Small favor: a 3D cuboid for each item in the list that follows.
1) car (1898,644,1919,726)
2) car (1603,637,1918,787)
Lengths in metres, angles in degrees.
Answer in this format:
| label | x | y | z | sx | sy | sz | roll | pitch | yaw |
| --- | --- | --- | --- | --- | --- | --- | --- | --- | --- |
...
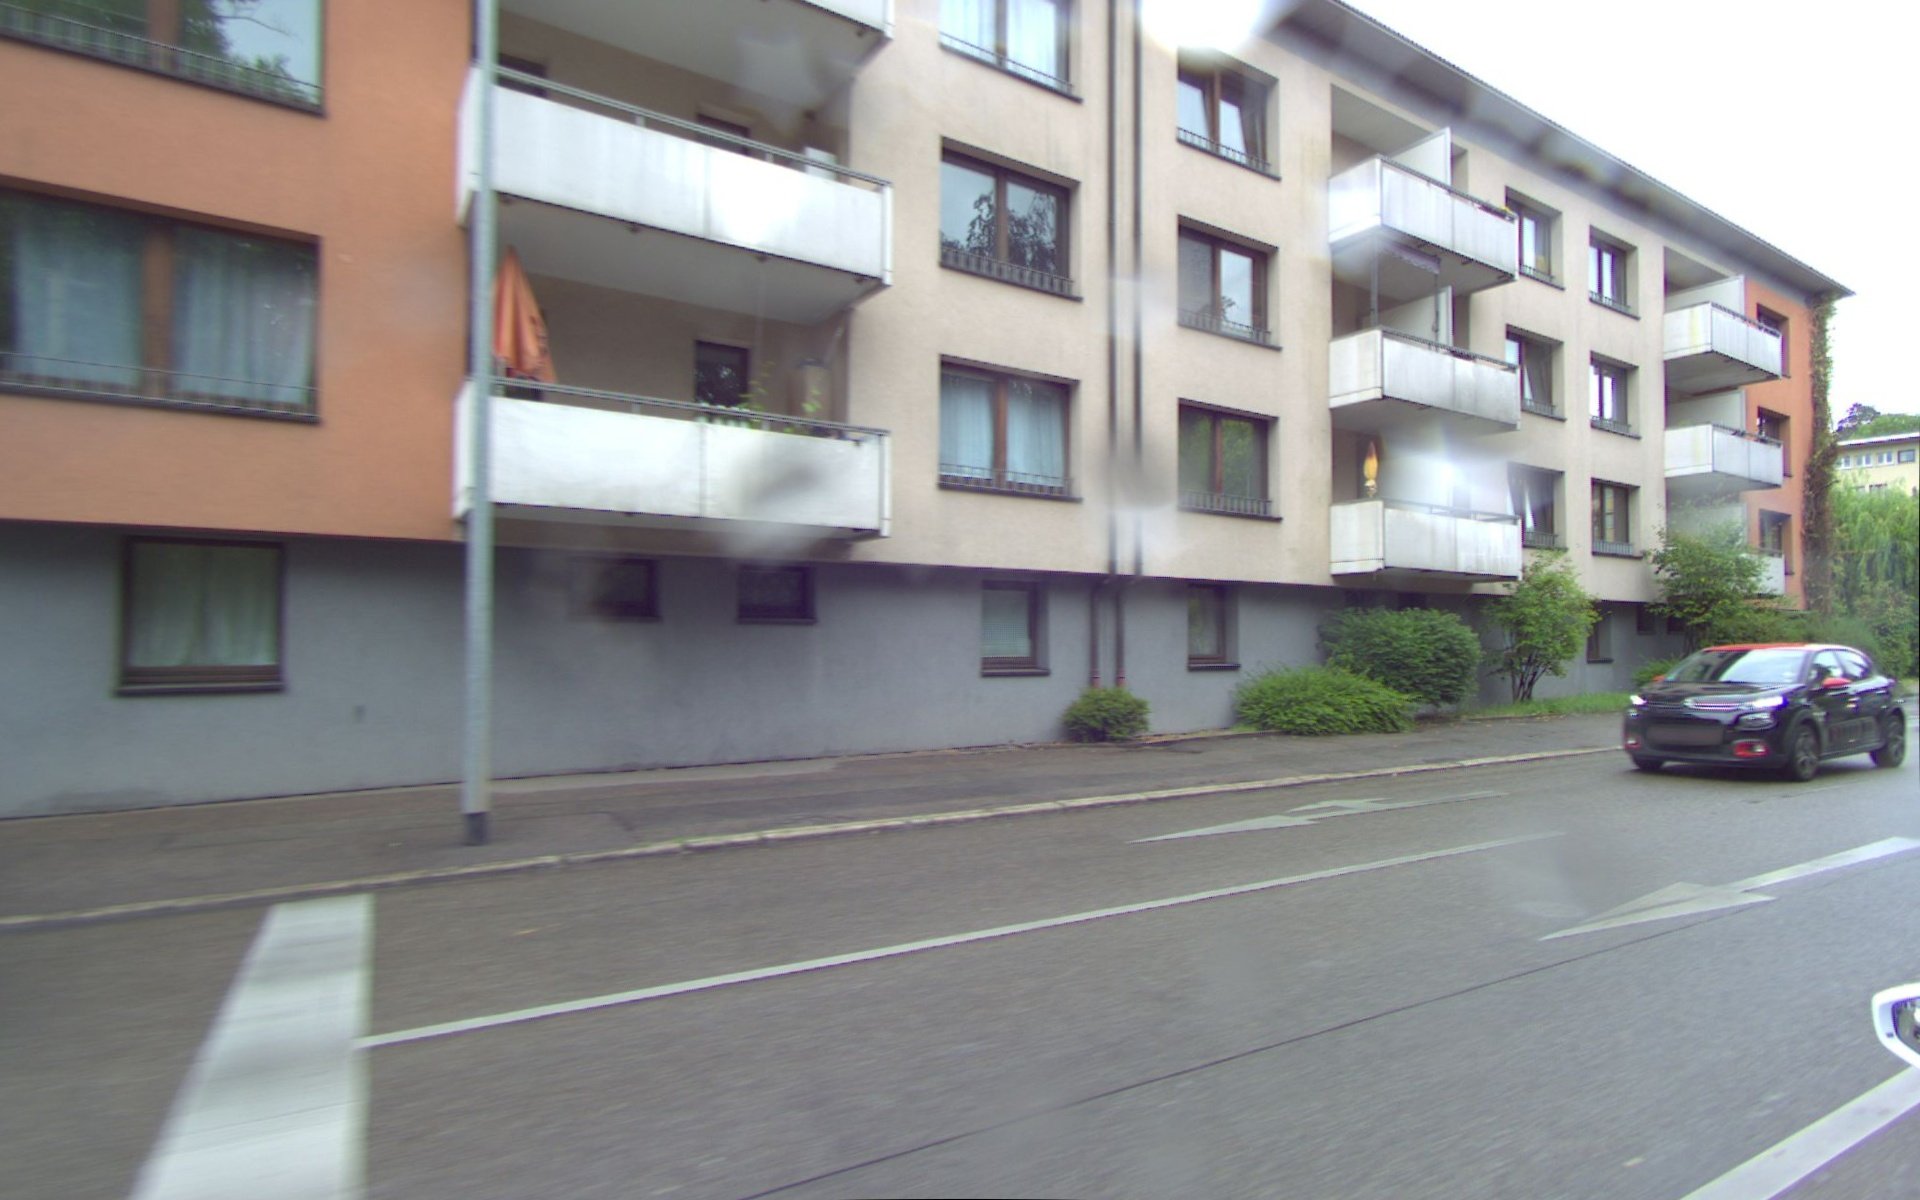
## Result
| label | x | y | z | sx | sy | sz | roll | pitch | yaw |
| --- | --- | --- | --- | --- | --- | --- | --- | --- | --- |
| car | 19.200 | 1.497 | 18.327 | 4.628 | 1.434 | 1.805 | 1 | -3 | -31 |
| car | 9.676 | 1.240 | 12.095 | 3.844 | 1.511 | 1.679 | 1 | -3 | -31 |
